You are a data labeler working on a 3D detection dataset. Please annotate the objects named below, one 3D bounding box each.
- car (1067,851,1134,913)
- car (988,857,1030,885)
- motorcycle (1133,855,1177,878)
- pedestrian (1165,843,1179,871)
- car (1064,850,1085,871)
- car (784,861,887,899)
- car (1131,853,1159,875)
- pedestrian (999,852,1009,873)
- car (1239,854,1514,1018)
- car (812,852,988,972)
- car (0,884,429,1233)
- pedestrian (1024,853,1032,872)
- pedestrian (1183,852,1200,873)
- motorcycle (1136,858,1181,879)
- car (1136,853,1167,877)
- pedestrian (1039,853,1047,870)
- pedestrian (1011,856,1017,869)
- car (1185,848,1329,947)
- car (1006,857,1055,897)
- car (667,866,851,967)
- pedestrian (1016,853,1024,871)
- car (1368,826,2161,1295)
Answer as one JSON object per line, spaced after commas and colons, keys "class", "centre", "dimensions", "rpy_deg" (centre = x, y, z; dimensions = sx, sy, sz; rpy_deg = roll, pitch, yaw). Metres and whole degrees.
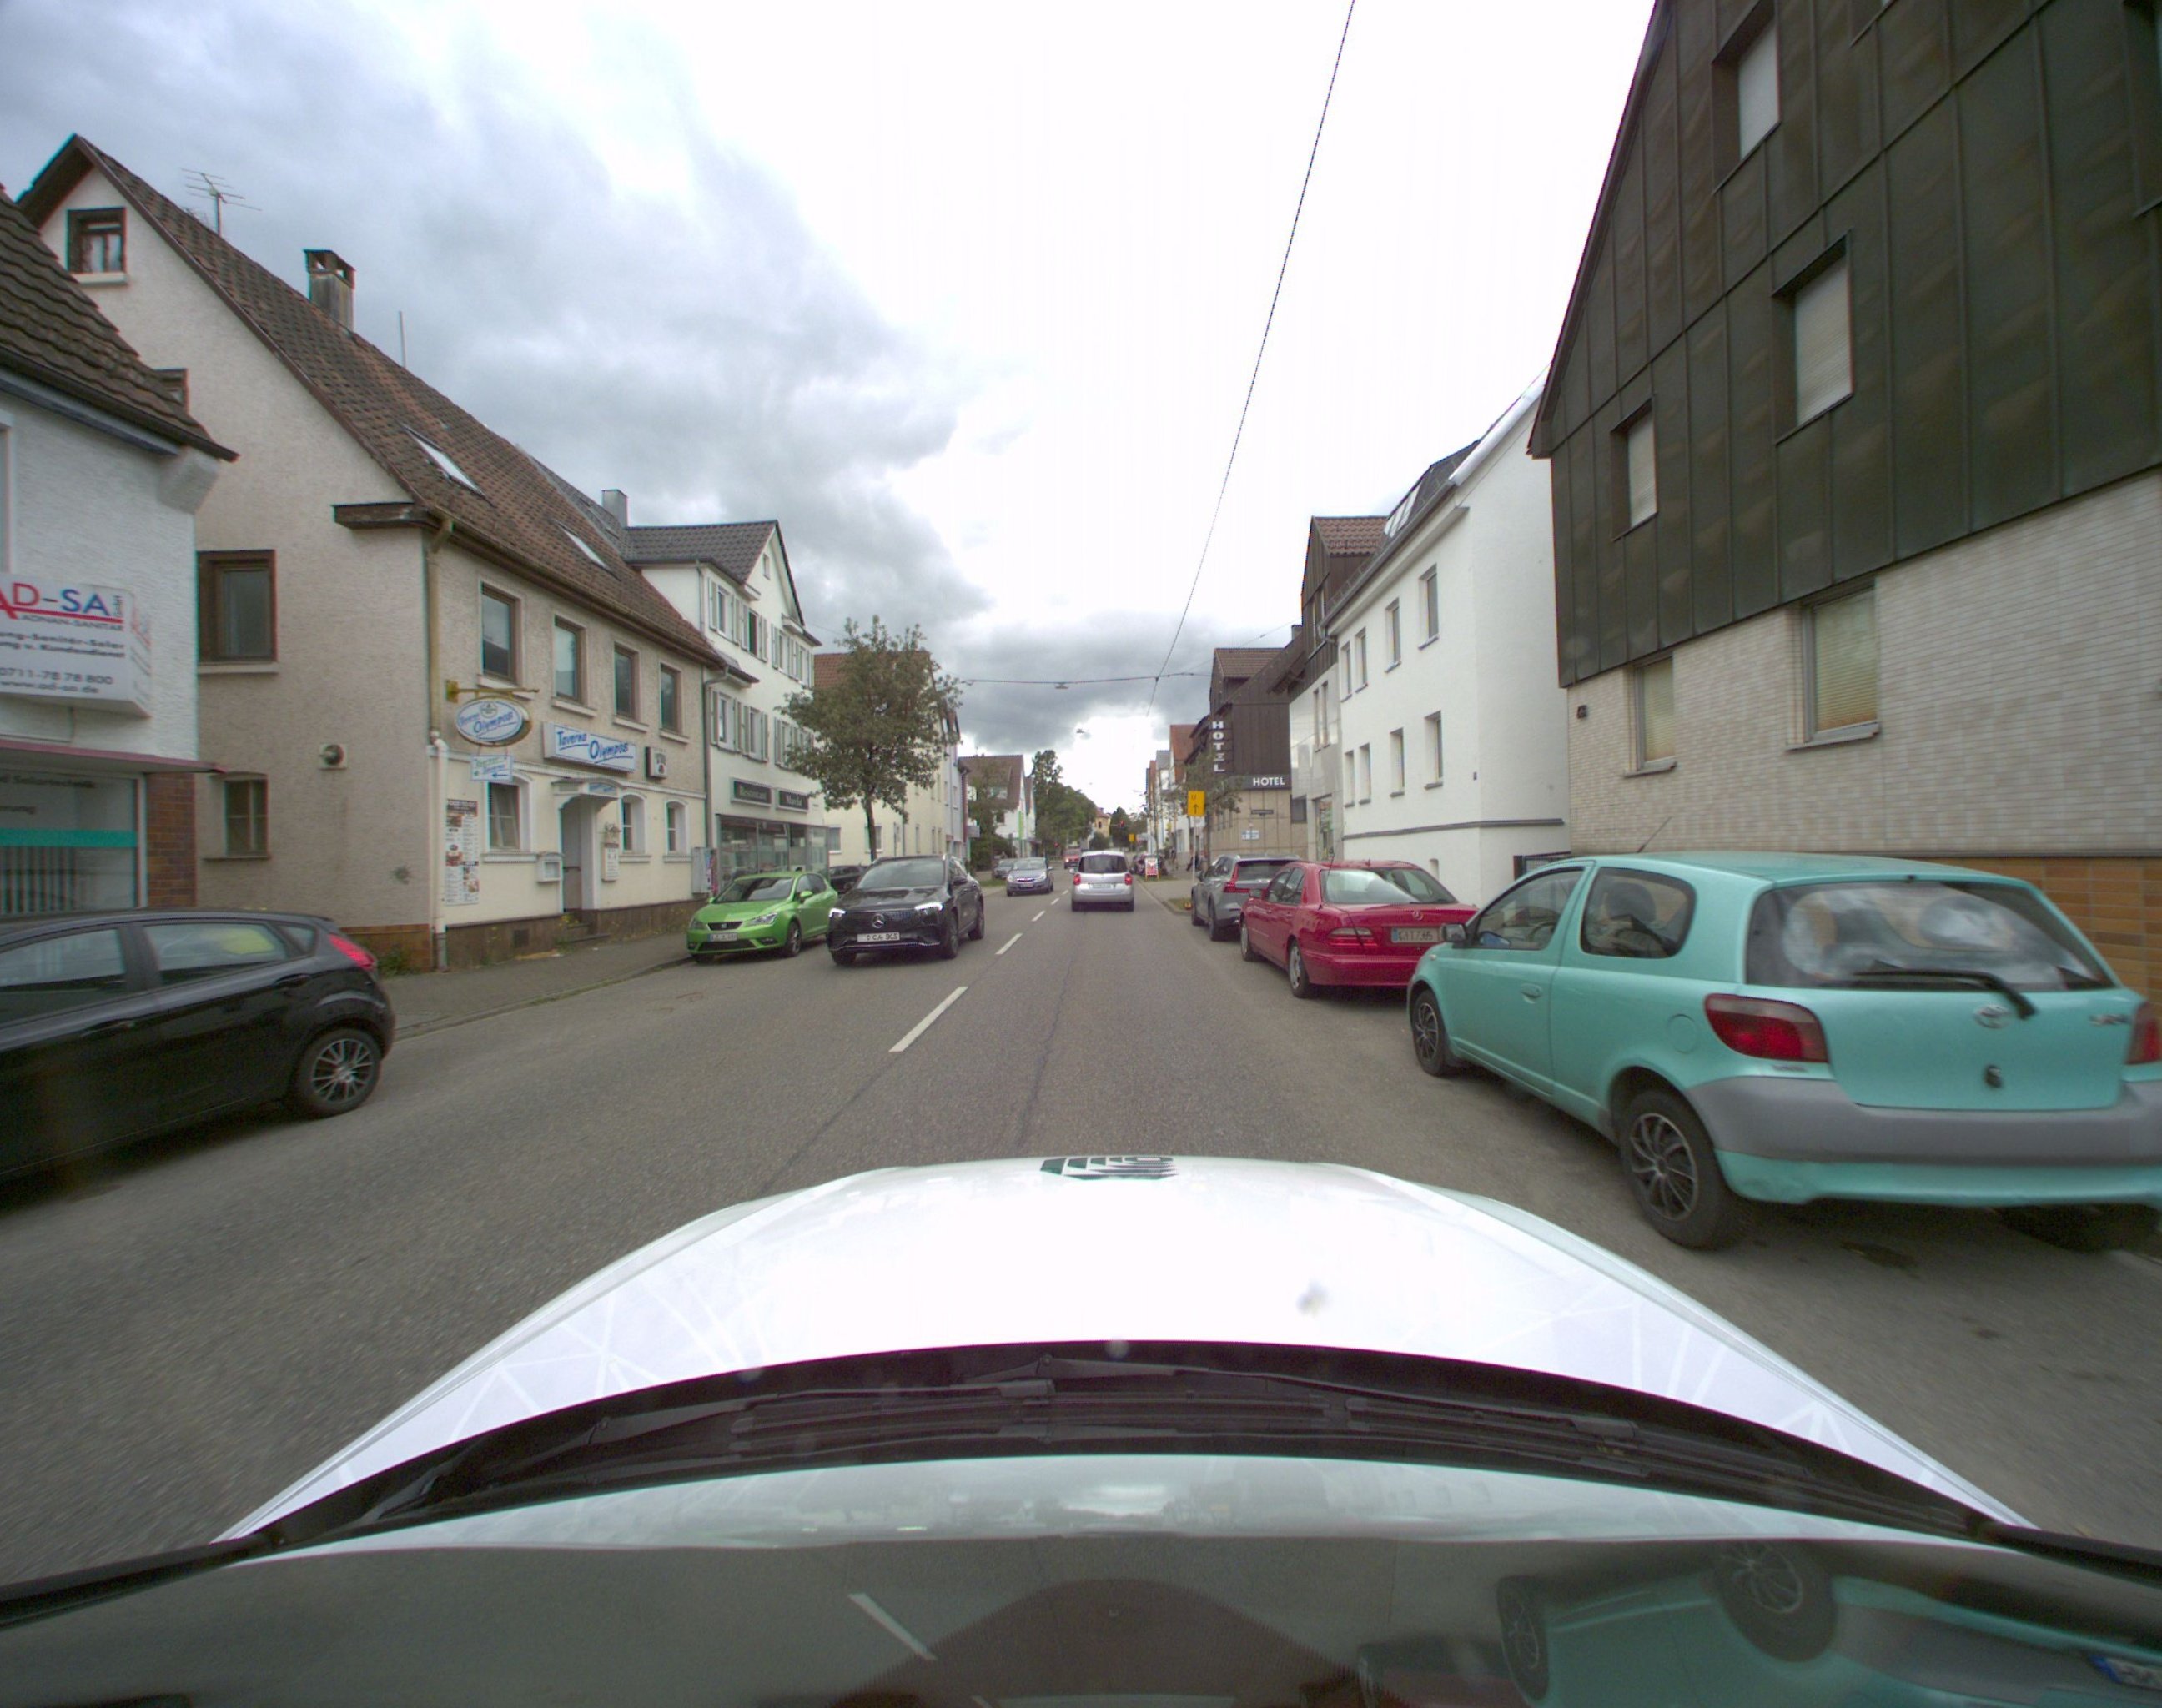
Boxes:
{"class": "car", "centre": [0.576, 0.714, 22.649], "dimensions": [1.676, 1.566, 3.996], "rpy_deg": [0, 0, 2]}
{"class": "car", "centre": [-4.349, 1.002, 49.782], "dimensions": [1.941, 1.467, 4.518], "rpy_deg": [-4, 0, 2]}
{"class": "motorcycle", "centre": [4.485, 0.765, 49.417], "dimensions": [2.723, 1.336, 0.693], "rpy_deg": [-1, -1, -29]}
{"class": "pedestrian", "centre": [6.415, 0.189, 57.400], "dimensions": [0.853, 1.928, 0.900], "rpy_deg": [-1, -1, 2]}
{"class": "car", "centre": [-0.646, 0.623, 81.484], "dimensions": [1.945, 2.014, 4.001], "rpy_deg": [-1, 0, 2]}
{"class": "car", "centre": [-10.710, 1.117, 35.704], "dimensions": [3.976, 1.534, 1.734], "rpy_deg": [-1, 0, -2]}
{"class": "car", "centre": [4.470, 0.701, 57.383], "dimensions": [1.694, 1.467, 4.240], "rpy_deg": [-1, 0, 1]}
{"class": "pedestrian", "centre": [-6.681, 0.773, 70.612], "dimensions": [0.760, 1.791, 0.890], "rpy_deg": [-1, -1, 1]}
{"class": "car", "centre": [3.046, 0.734, 9.453], "dimensions": [1.748, 1.446, 4.457], "rpy_deg": [0, 0, 2]}
{"class": "car", "centre": [-2.796, 0.821, 13.596], "dimensions": [1.788, 1.578, 4.194], "rpy_deg": [-3, 0, 2]}
{"class": "car", "centre": [-5.727, 1.020, 4.133], "dimensions": [1.575, 1.508, 3.814], "rpy_deg": [-4, 0, 2]}
{"class": "pedestrian", "centre": [-5.338, 0.861, 81.793], "dimensions": [0.759, 1.876, 0.696], "rpy_deg": [-1, -1, 1]}
{"class": "pedestrian", "centre": [7.356, 0.543, 54.260], "dimensions": [0.884, 1.300, 0.967], "rpy_deg": [-5, -1, 2]}
{"class": "motorcycle", "centre": [4.629, 0.834, 48.368], "dimensions": [2.744, 1.183, 0.693], "rpy_deg": [-1, -1, -29]}
{"class": "car", "centre": [4.515, 0.684, 52.568], "dimensions": [1.694, 1.430, 3.891], "rpy_deg": [-1, 0, 1]}
{"class": "pedestrian", "centre": [-4.163, 0.806, 89.078], "dimensions": [0.713, 1.876, 0.696], "rpy_deg": [-1, -1, 1]}
{"class": "pedestrian", "centre": [-6.848, 0.843, 82.872], "dimensions": [0.490, 1.278, 0.588], "rpy_deg": [-1, -1, 1]}
{"class": "car", "centre": [3.075, 0.697, 15.164], "dimensions": [1.868, 1.539, 4.515], "rpy_deg": [-1, 0, 2]}
{"class": "car", "centre": [-1.988, 0.880, 32.943], "dimensions": [1.677, 1.447, 4.018], "rpy_deg": [-3, 0, -1]}
{"class": "car", "centre": [-5.583, 1.000, 14.687], "dimensions": [1.677, 1.447, 4.018], "rpy_deg": [-3, 0, -1]}
{"class": "pedestrian", "centre": [-6.169, 0.816, 81.856], "dimensions": [0.713, 1.756, 0.696], "rpy_deg": [-1, -1, 1]}
{"class": "car", "centre": [3.165, 0.667, 4.607], "dimensions": [1.824, 1.497, 3.996], "rpy_deg": [0, 0, 2]}
